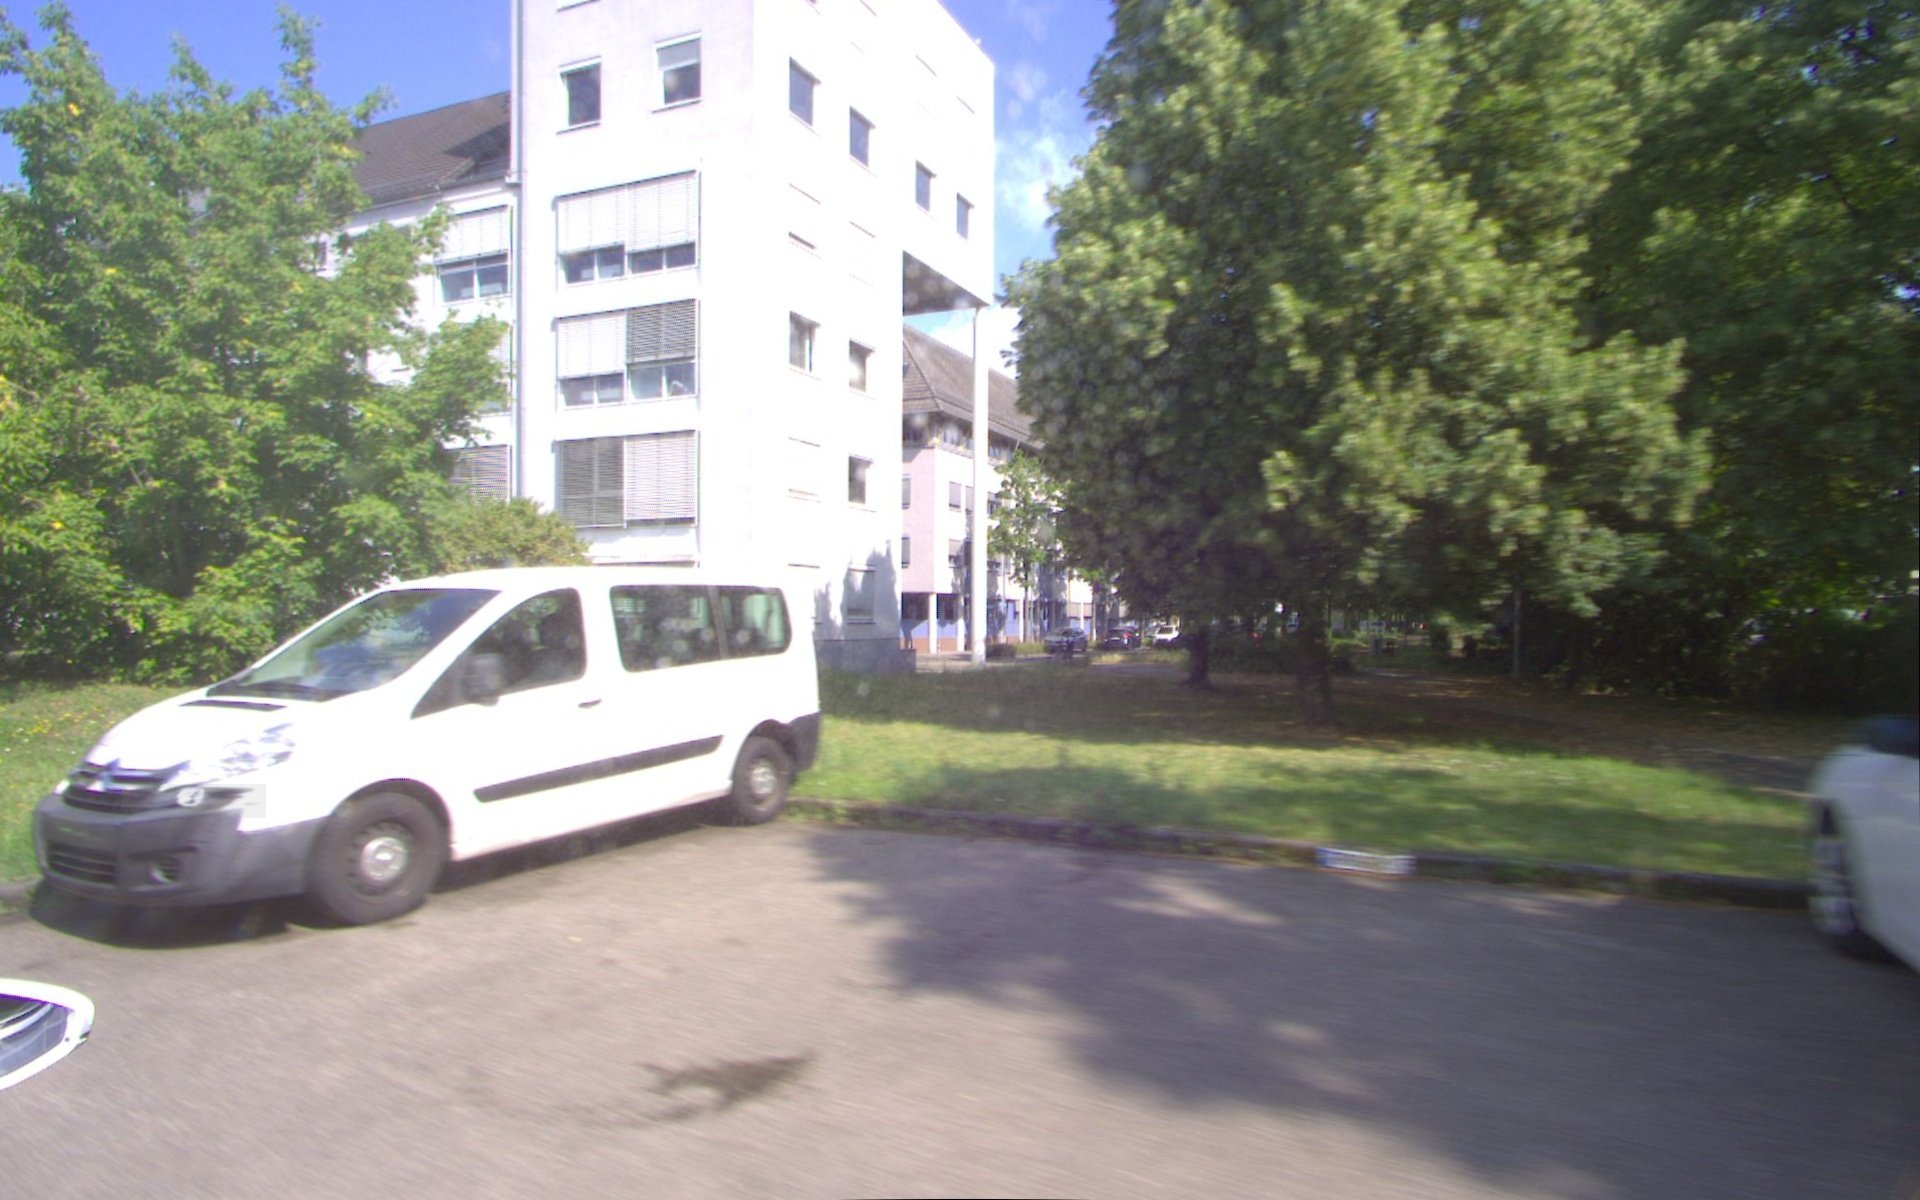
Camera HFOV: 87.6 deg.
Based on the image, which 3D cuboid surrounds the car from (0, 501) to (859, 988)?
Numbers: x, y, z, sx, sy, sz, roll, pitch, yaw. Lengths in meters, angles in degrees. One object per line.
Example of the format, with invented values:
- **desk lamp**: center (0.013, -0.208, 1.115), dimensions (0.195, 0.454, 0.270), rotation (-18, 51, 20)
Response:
- **car**: center (-2.893, 0.625, 6.738), dimensions (1.969, 1.990, 4.934), rotation (0, -1, 29)

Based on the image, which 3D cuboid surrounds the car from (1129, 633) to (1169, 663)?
- **car**: center (13.533, 3.401, 71.540), dimensions (1.818, 1.707, 3.984), rotation (2, 3, 26)

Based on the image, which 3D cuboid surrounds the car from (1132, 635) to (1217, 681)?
- **car**: center (11.239, 2.985, 52.432), dimensions (3.938, 2.042, 1.990), rotation (2, 3, 29)

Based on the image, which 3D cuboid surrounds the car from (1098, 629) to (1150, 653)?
- **car**: center (10.253, 2.587, 62.566), dimensions (1.818, 1.446, 4.166), rotation (-2, -3, 31)

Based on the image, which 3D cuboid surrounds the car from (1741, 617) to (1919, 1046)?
- **car**: center (4.001, 0.787, 2.912), dimensions (1.730, 1.438, 3.905), rotation (-2, -1, 23)

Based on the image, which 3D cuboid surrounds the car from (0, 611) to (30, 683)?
- **car**: center (-23.173, 1.018, 21.674), dimensions (1.725, 1.626, 4.118), rotation (-1, -3, 22)

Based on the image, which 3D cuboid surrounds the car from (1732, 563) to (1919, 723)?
- **car**: center (19.960, 0.852, 20.121), dimensions (6.843, 3.087, 1.999), rotation (0, 0, 12)

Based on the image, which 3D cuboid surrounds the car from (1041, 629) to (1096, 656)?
- **car**: center (6.360, 2.458, 58.348), dimensions (1.790, 1.461, 3.822), rotation (0, -1, 29)
